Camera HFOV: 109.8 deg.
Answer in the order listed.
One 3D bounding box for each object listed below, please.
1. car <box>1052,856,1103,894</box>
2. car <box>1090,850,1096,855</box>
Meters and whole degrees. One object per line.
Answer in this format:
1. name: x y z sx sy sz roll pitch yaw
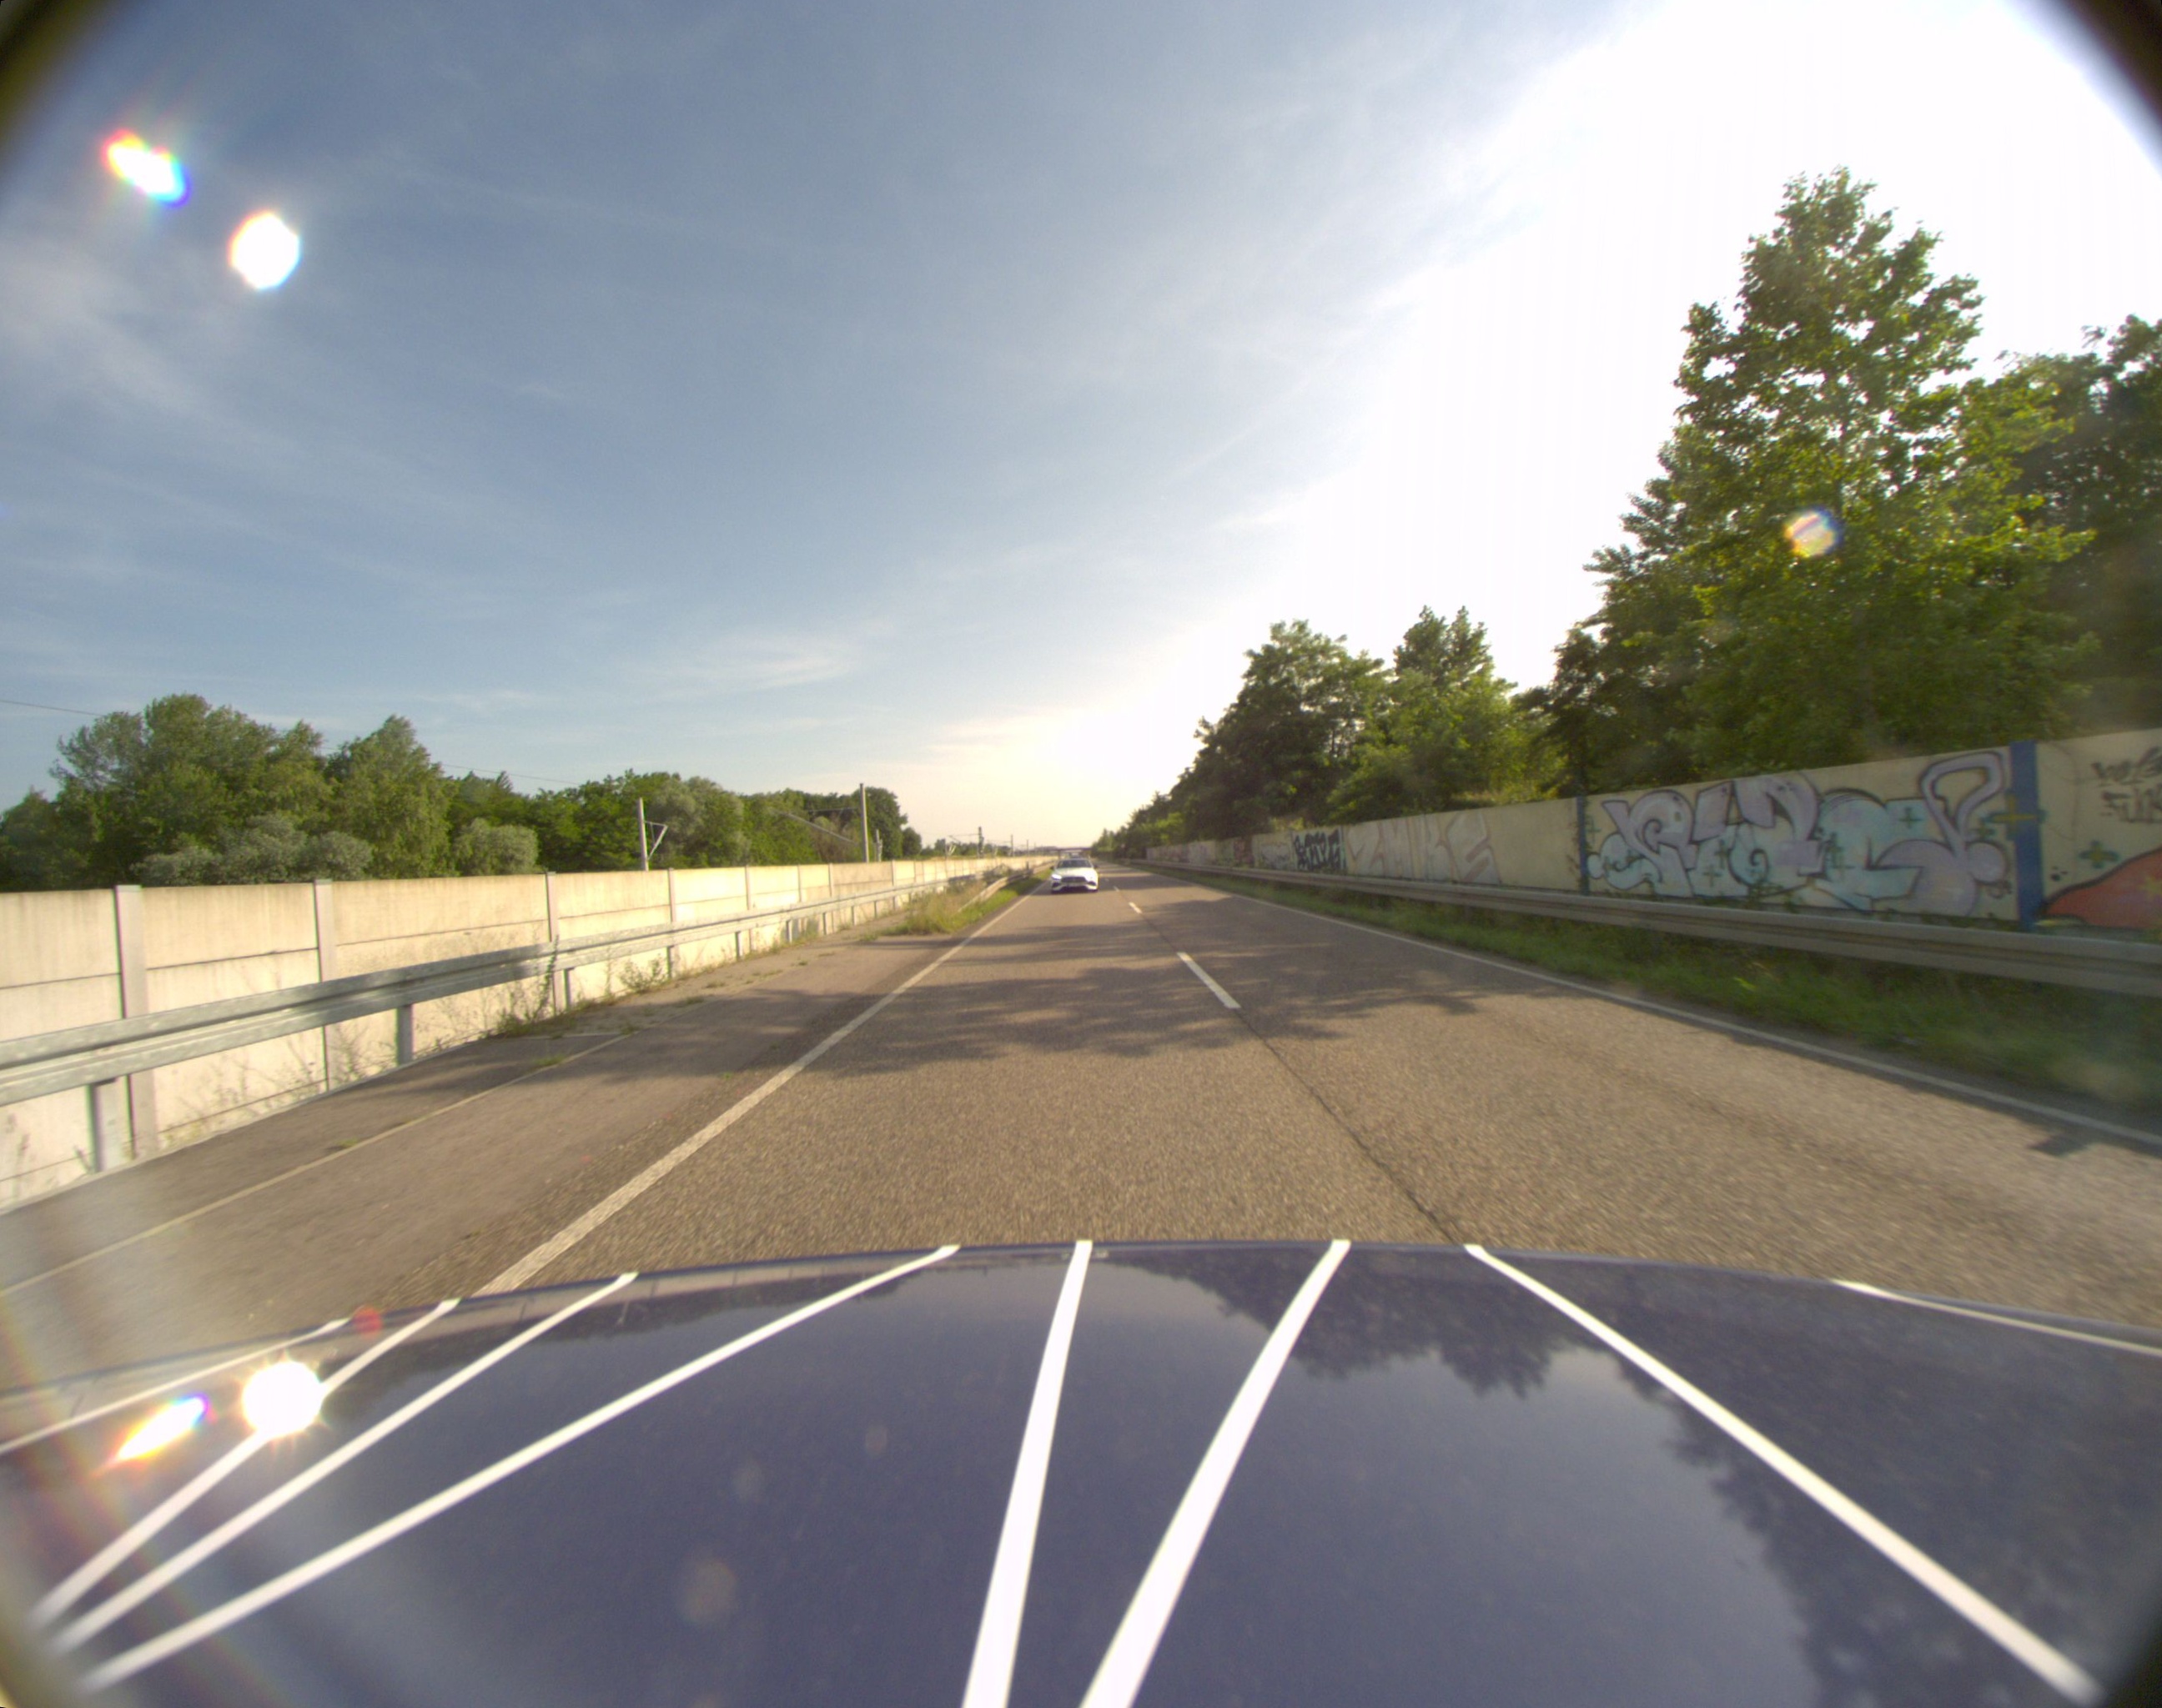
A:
1. car: -0.158 0.820 32.222 1.953 1.430 4.611 -2 0 0
2. car: 3.847 -0.507 246.987 1.724 1.386 4.360 -2 1 0
